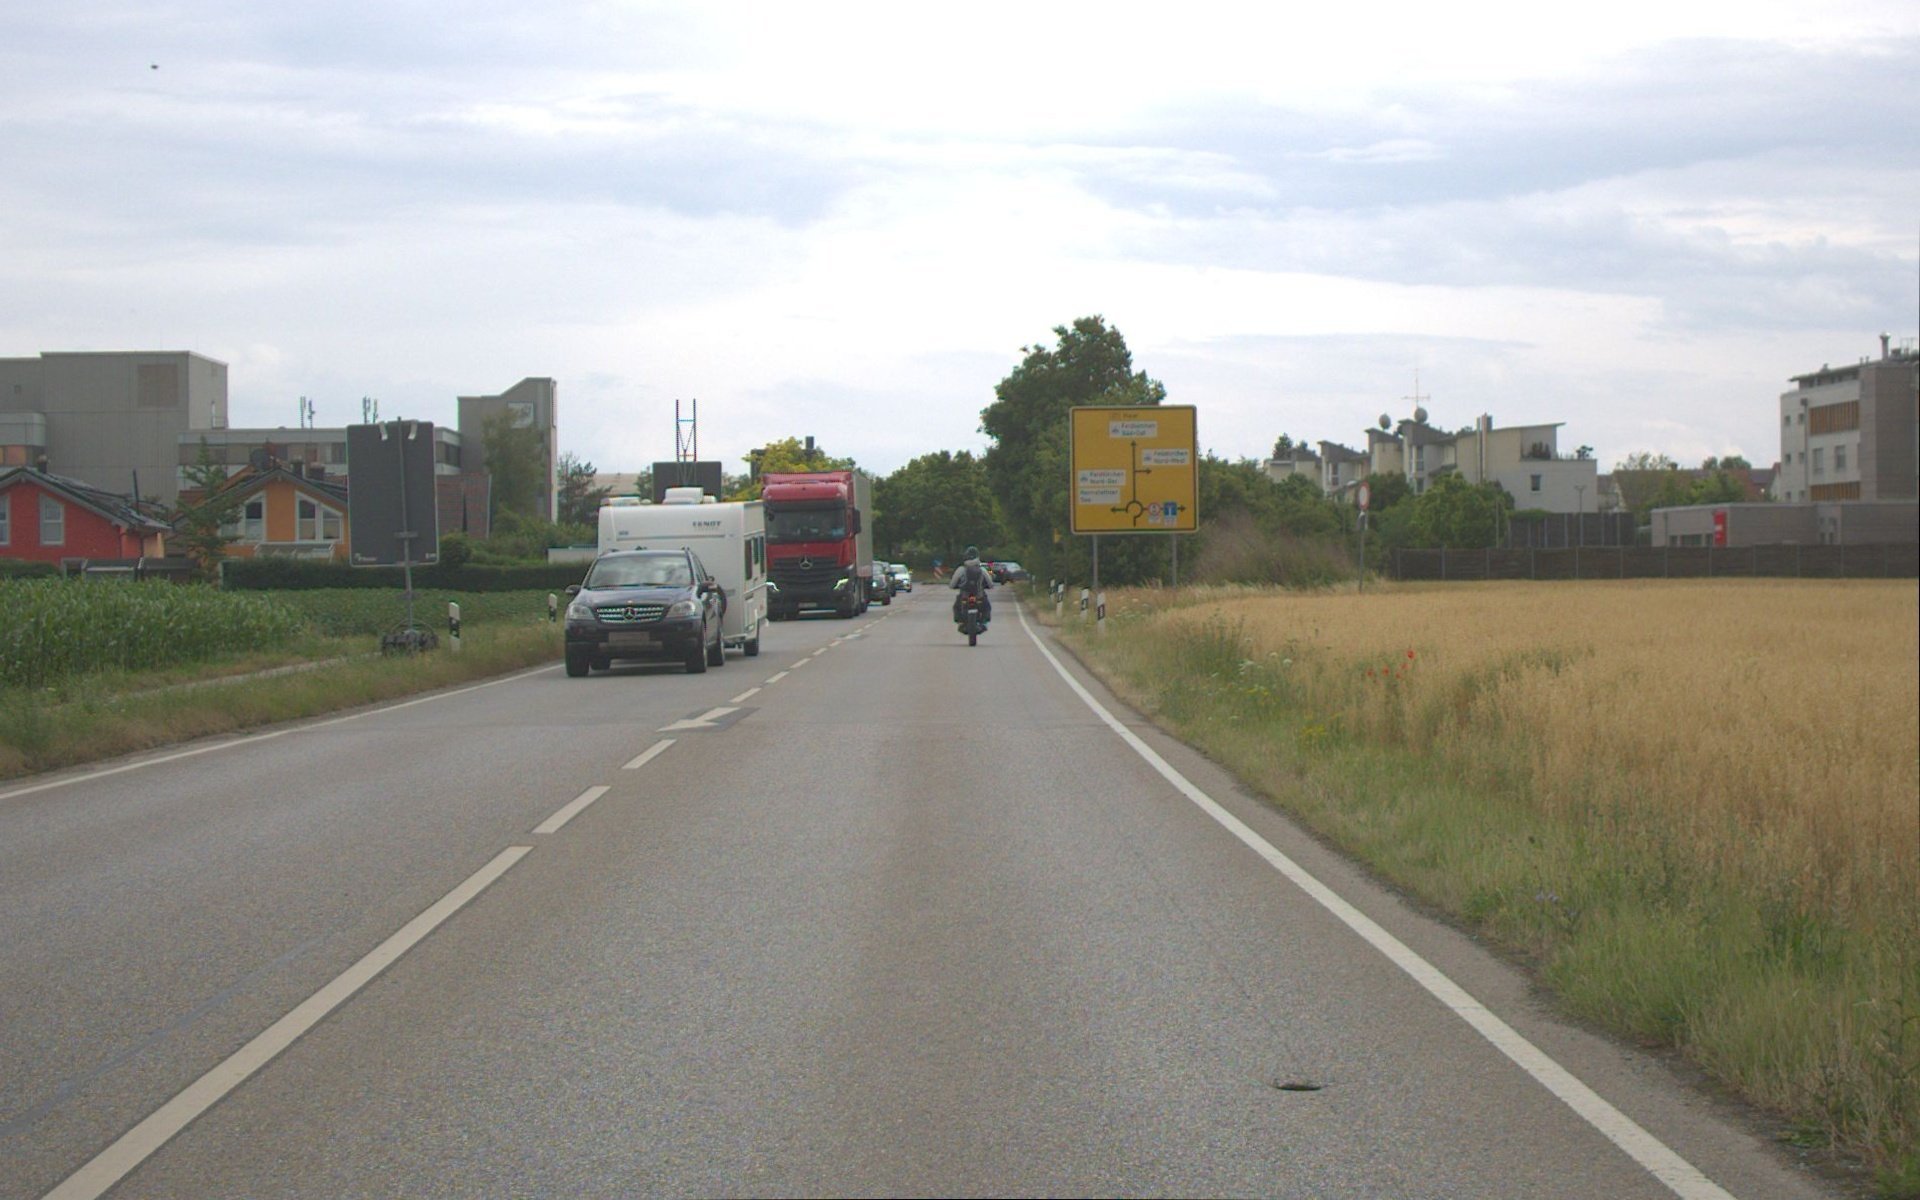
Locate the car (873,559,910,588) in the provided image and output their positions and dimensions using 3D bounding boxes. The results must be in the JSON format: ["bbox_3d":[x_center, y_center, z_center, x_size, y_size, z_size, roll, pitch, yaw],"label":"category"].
[{"bbox_3d":[-3.504,-1.351,176.170,1.855,1.467,4.000,0,0,-1],"label":"car"}]

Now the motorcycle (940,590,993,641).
[{"bbox_3d":[0.123,0.272,62.114,0.941,0.887,2.146,0,0,0],"label":"motorcycle"}]

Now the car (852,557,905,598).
[{"bbox_3d":[-2.936,-0.800,124.109,1.855,1.467,4.000,0,0,-1],"label":"car"}]

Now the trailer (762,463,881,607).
[{"bbox_3d":[-3.990,-1.810,101.940,2.729,3.932,13.781,-1,0,1],"label":"trailer"}]

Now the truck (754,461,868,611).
[{"bbox_3d":[-4.081,-1.728,95.547,2.729,3.974,6.816,-1,0,1],"label":"truck"}]

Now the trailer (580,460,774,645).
[{"bbox_3d":[-4.400,-0.726,54.785,2.324,2.720,7.843,0,0,1],"label":"trailer"}]

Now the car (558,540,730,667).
[{"bbox_3d":[-4.436,0.036,48.871,1.993,1.693,4.675,0,0,0],"label":"car"}]

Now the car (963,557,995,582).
[{"bbox_3d":[1.150,-1.828,207.526,1.855,1.467,4.000,0,0,0],"label":"car"}]

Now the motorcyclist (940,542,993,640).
[{"bbox_3d":[0.117,-0.165,62.177,0.941,1.744,1.200,0,0,0],"label":"motorcyclist"}]
